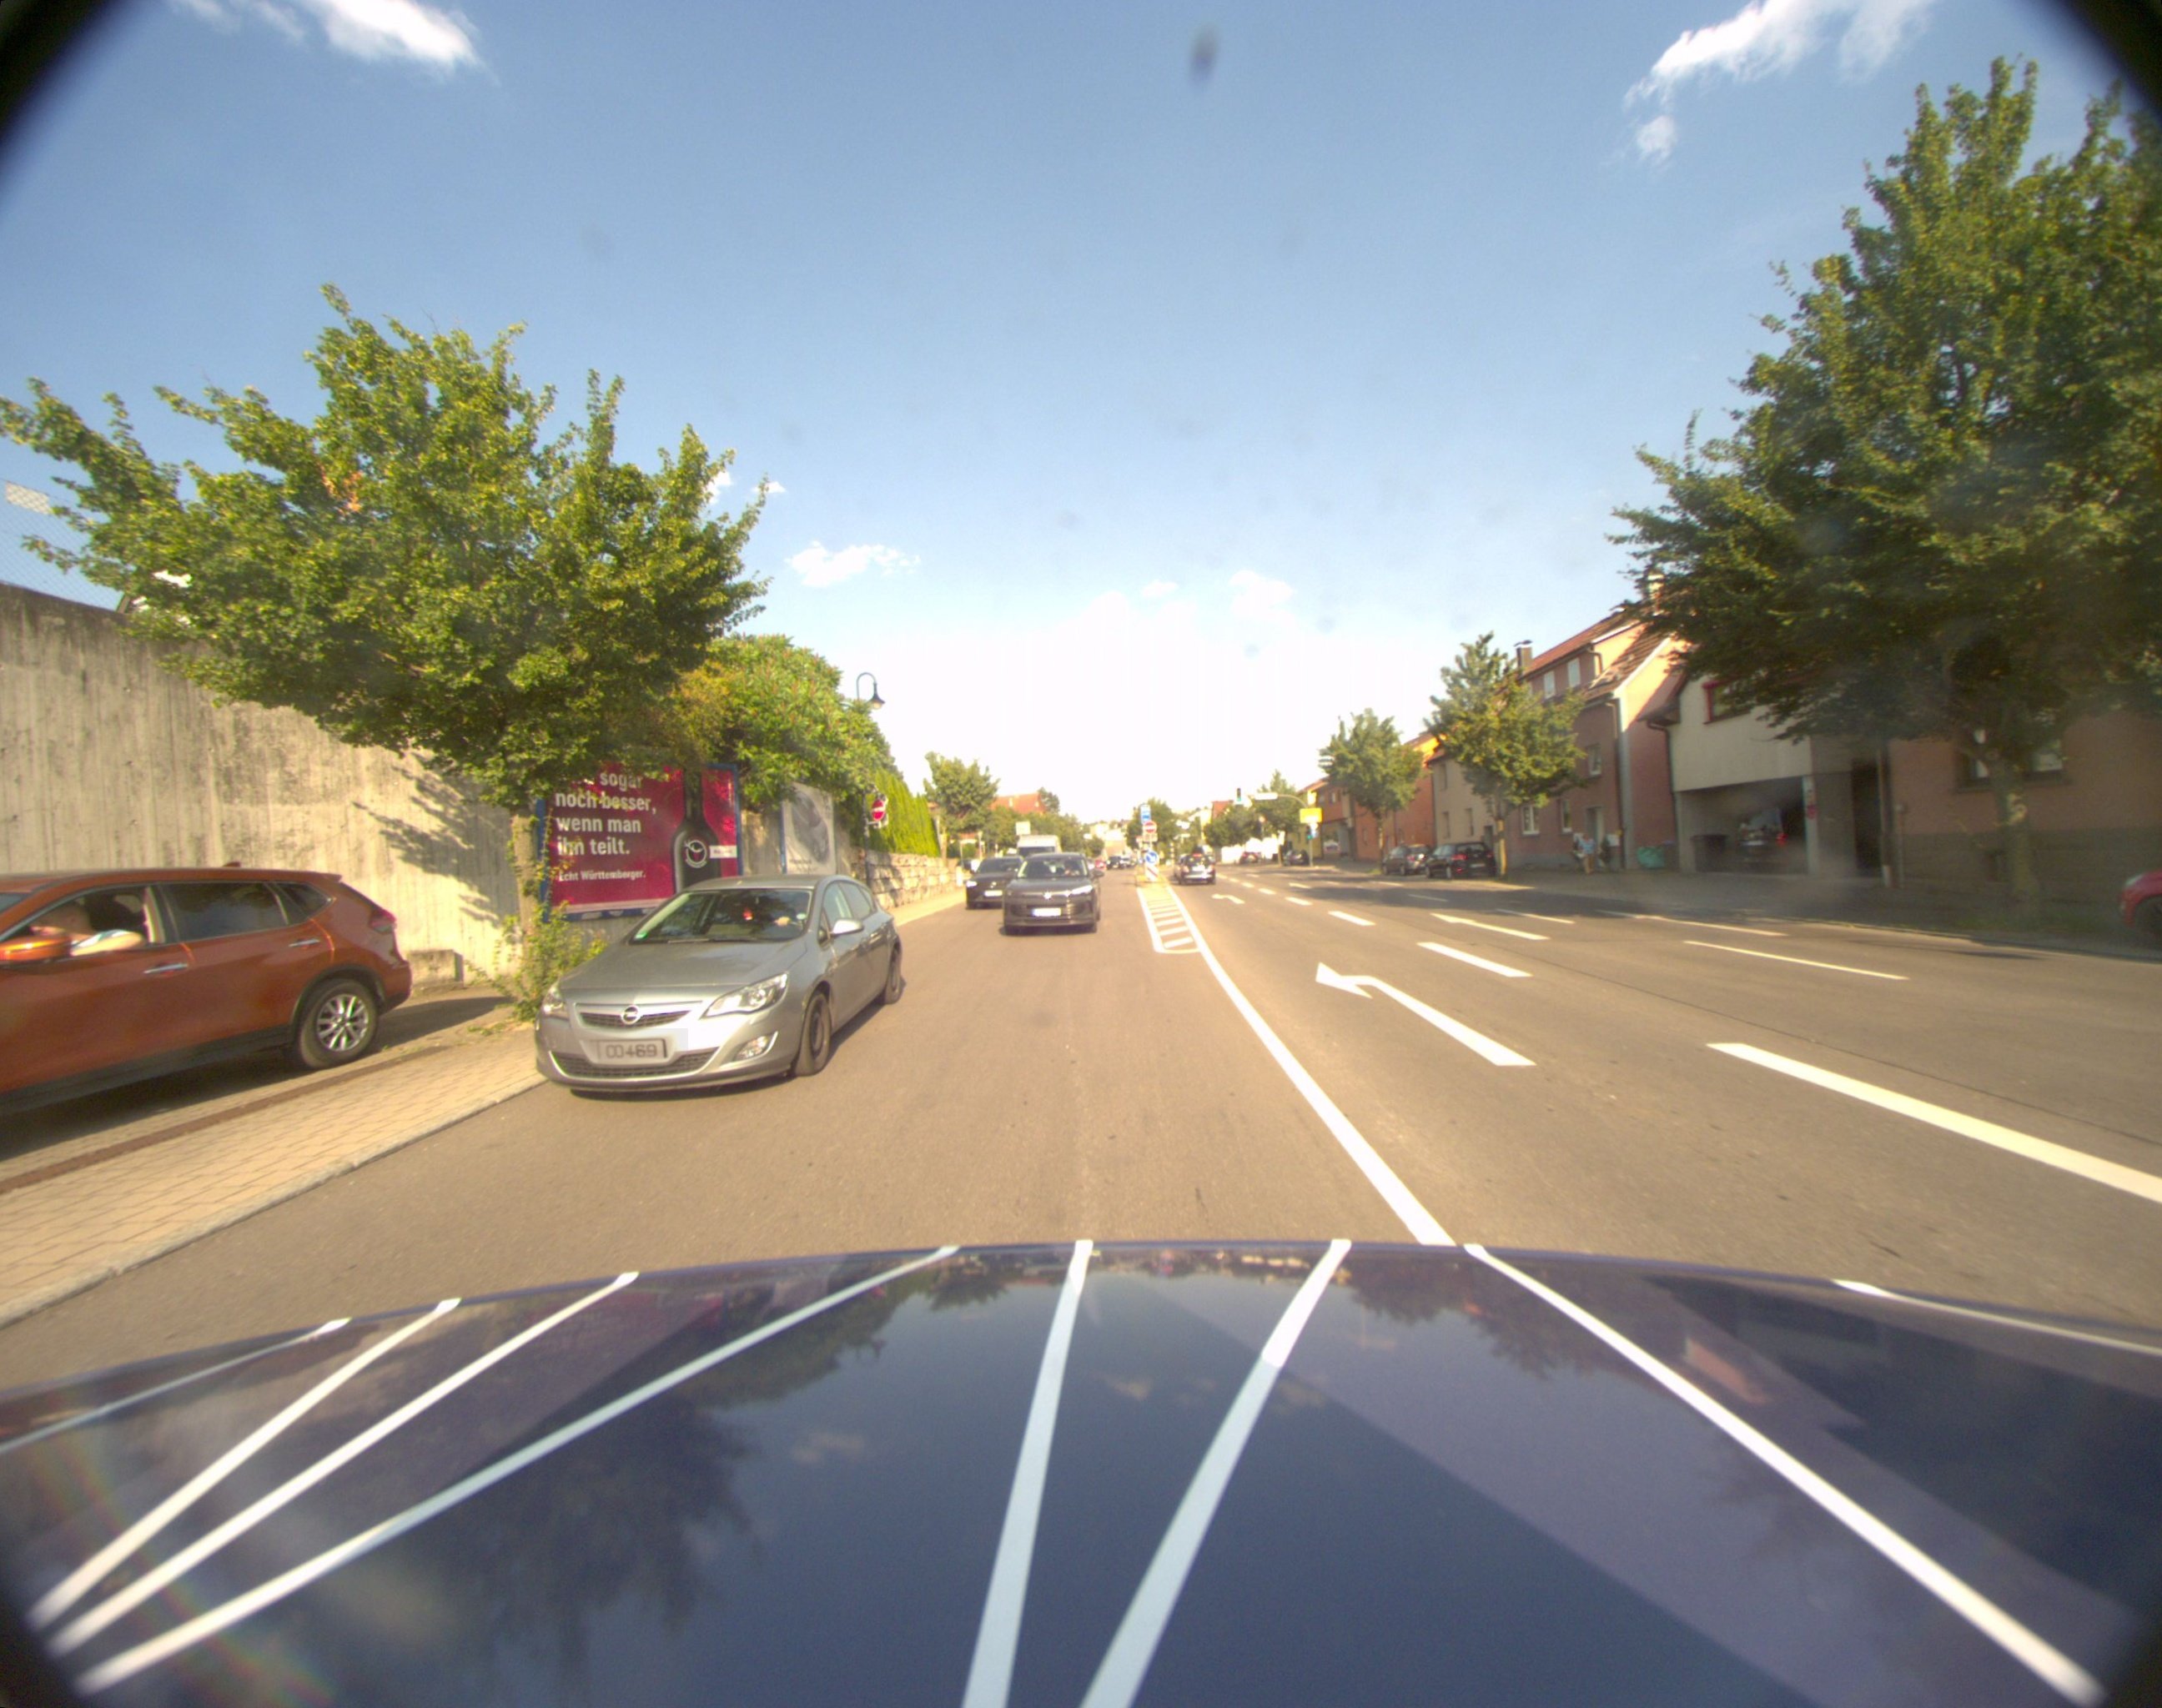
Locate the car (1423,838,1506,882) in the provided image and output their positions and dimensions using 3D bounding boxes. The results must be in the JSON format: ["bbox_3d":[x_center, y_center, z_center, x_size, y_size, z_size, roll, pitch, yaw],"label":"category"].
[{"bbox_3d":[15.281,0.218,30.517,1.669,1.523,3.905,-5,0,8],"label":"car"}]

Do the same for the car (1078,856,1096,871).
[{"bbox_3d":[0.616,0.952,77.454,1.515,1.353,2.956,-3,0,4],"label":"car"}]

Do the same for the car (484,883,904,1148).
[{"bbox_3d":[-2.778,1.037,6.597,1.652,1.414,4.143,-1,0,-3],"label":"car"}]

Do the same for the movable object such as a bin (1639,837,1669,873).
[{"bbox_3d":[18.432,0.029,24.446,0.552,1.136,0.530,-2,0,7],"label":"movable object such as a bin"}]

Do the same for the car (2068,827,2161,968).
[{"bbox_3d":[12.446,0.446,7.033,1.669,1.478,4.002,-5,0,9],"label":"car"}]

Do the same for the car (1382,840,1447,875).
[{"bbox_3d":[15.887,0.180,36.377,1.515,1.501,3.887,-4,0,3],"label":"car"}]

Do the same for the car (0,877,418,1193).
[{"bbox_3d":[-6.867,1.061,4.663,1.840,1.639,4.536,-3,0,-5],"label":"car"}]

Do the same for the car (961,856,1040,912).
[{"bbox_3d":[-2.504,0.899,24.575,1.791,1.596,4.058,-2,0,4],"label":"car"}]

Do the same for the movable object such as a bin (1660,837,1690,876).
[{"bbox_3d":[17.711,0.083,22.658,0.476,1.130,0.501,-2,0,4],"label":"movable object such as a bin"}]

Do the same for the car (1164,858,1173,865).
[{"bbox_3d":[19.343,1.694,168.576,1.761,1.403,4.001,-3,0,3],"label":"car"}]

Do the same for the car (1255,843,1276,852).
[{"bbox_3d":[31.790,-1.117,130.995,3.437,1.534,1.617,-2,-1,-35],"label":"car"}]

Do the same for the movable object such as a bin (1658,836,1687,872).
[{"bbox_3d":[18.977,-0.006,24.374,0.505,1.136,0.530,-2,0,7],"label":"movable object such as a bin"}]

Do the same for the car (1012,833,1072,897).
[{"bbox_3d":[-1.726,0.504,35.960,2.039,2.642,6.651,-3,0,3],"label":"car"}]

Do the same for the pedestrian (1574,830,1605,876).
[{"bbox_3d":[18.391,-0.035,27.484,0.776,1.598,0.724,-2,1,23],"label":"pedestrian"}]

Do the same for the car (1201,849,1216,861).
[{"bbox_3d":[18.270,0.146,108.918,1.689,1.602,4.414,-2,0,4],"label":"car"}]

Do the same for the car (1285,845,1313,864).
[{"bbox_3d":[18.937,0.024,66.103,1.595,1.430,3.777,-7,-1,8],"label":"car"}]

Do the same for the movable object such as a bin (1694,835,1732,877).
[{"bbox_3d":[17.942,0.058,21.586,0.567,1.136,0.576,-2,0,-1],"label":"movable object such as a bin"}]

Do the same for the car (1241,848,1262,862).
[{"bbox_3d":[20.483,0.082,91.558,1.859,1.586,4.462,-3,0,6],"label":"car"}]

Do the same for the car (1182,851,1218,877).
[{"bbox_3d":[7.655,0.627,49.310,1.839,1.479,4.567,-3,0,4],"label":"car"}]

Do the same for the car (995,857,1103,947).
[{"bbox_3d":[-0.535,0.898,16.055,1.767,1.582,4.058,-3,0,4],"label":"car"}]

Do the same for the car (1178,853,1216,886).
[{"bbox_3d":[5.547,0.729,36.684,1.535,1.453,3.507,-3,0,5],"label":"car"}]

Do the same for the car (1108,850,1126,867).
[{"bbox_3d":[4.236,0.500,89.415,1.815,1.860,4.002,-3,0,6],"label":"car"}]

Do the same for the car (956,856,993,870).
[{"bbox_3d":[-13.088,1.091,93.443,4.072,1.447,1.681,-3,0,16],"label":"car"}]

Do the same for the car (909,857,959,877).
[{"bbox_3d":[-12.163,1.069,62.952,3.795,1.533,1.599,2,0,4],"label":"car"}]

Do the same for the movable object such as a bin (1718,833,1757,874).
[{"bbox_3d":[18.713,-0.003,21.666,0.567,1.136,0.576,-2,0,-1],"label":"movable object such as a bin"}]

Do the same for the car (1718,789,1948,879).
[{"bbox_3d":[19.068,-0.481,19.425,3.829,1.870,1.780,-5,0,6],"label":"car"}]

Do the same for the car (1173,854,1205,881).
[{"bbox_3d":[6.147,0.737,43.449,1.592,1.419,3.580,-3,0,5],"label":"car"}]

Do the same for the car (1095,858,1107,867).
[{"bbox_3d":[3.114,1.299,117.559,1.529,1.353,2.794,-3,0,7],"label":"car"}]
